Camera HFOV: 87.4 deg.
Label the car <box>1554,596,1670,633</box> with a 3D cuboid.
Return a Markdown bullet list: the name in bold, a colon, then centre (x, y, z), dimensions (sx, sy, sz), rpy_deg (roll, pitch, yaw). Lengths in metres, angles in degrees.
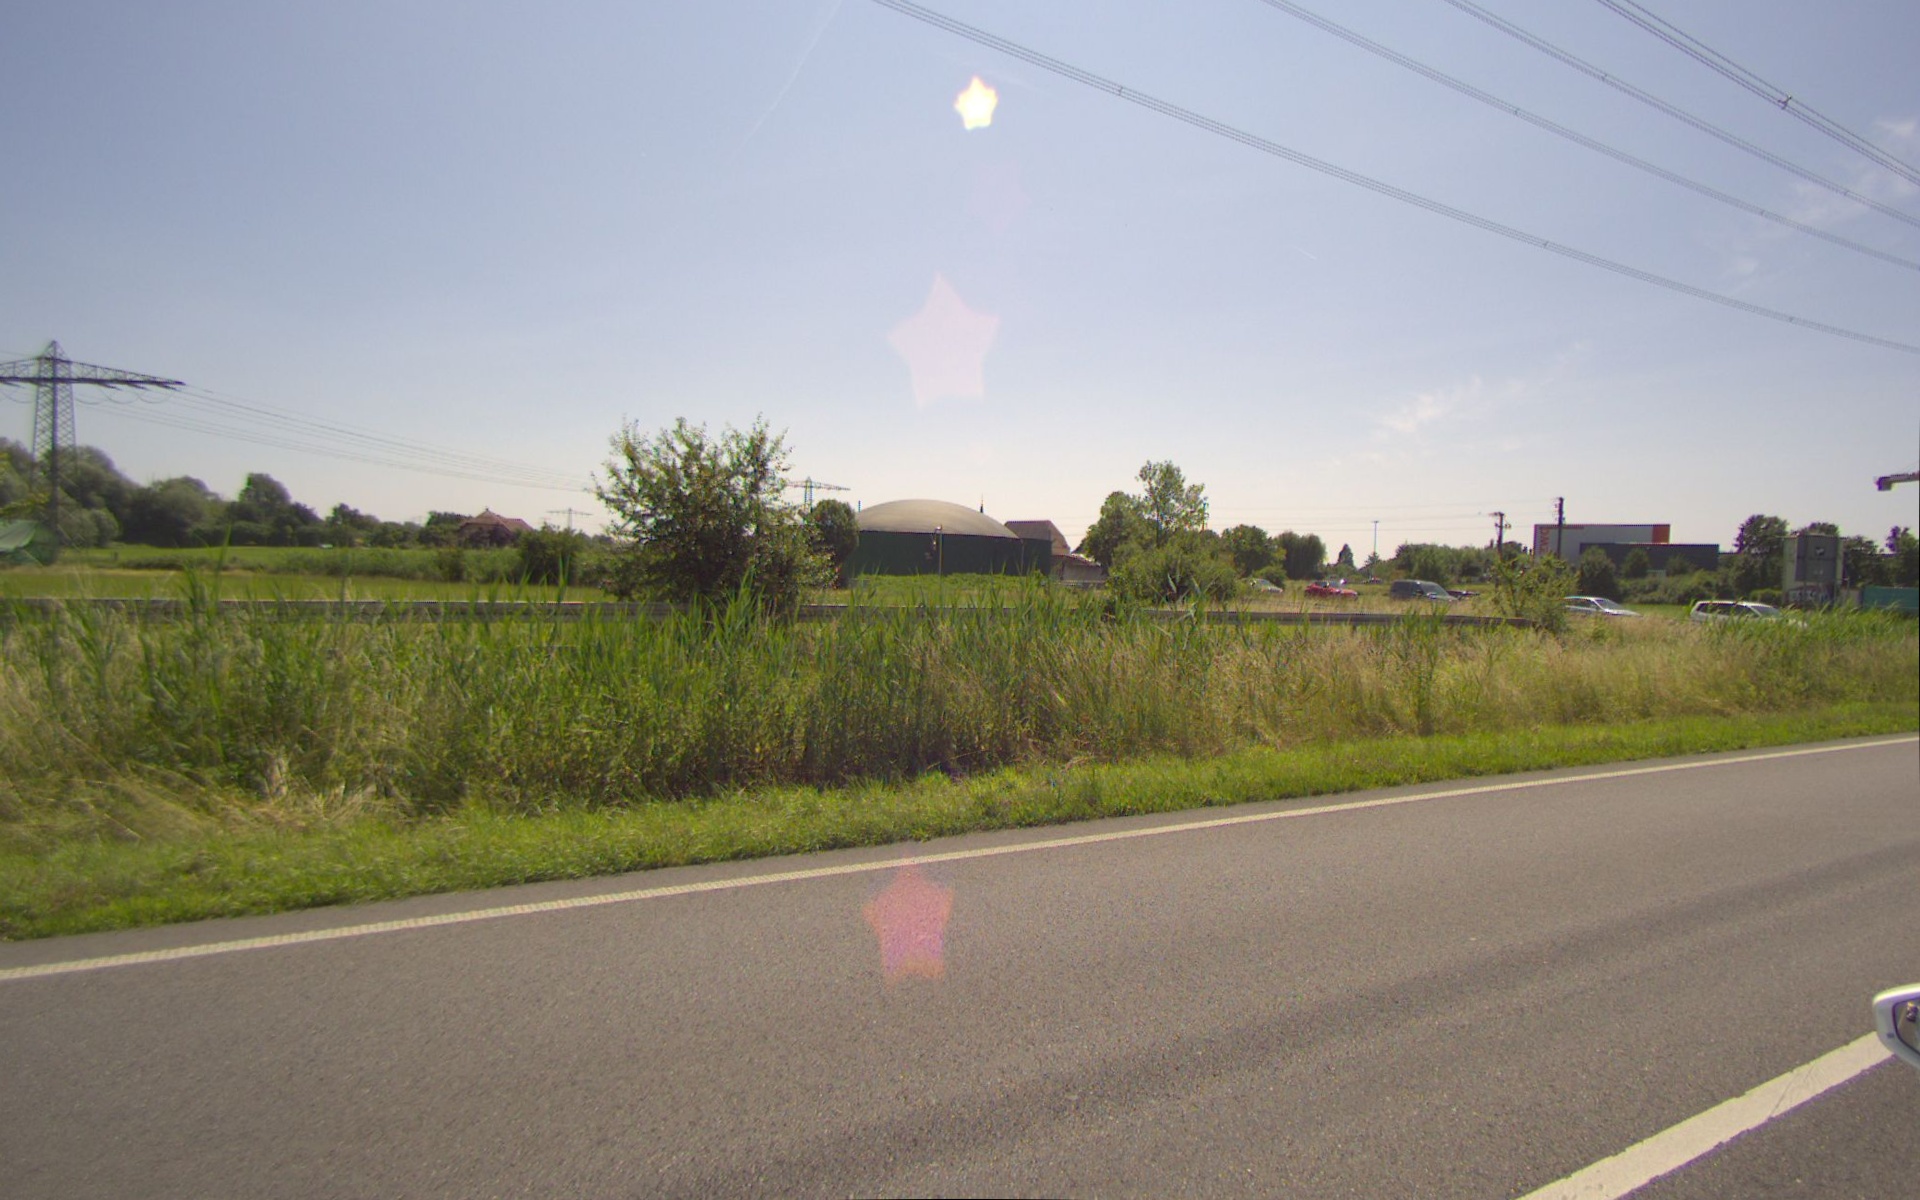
- **car**: centre (30.166, 0.622, 46.638), dimensions (1.691, 1.490, 4.428), rpy_deg (2, 1, -18)

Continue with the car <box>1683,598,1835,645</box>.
- **car**: centre (32.308, 0.831, 40.818), dimensions (1.935, 1.634, 4.542), rpy_deg (2, 2, -14)

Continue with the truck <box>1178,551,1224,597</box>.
- **truck**: centre (26.324, -2.779, 110.396), dimensions (3.615, 4.708, 13.247), rpy_deg (2, 1, 9)

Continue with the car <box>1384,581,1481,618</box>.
- **car**: centre (26.662, -0.079, 56.895), dimensions (2.056, 1.893, 4.929), rpy_deg (0, 2, -20)

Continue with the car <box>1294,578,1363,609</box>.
- **car**: centre (24.087, -0.458, 65.792), dimensions (1.885, 1.874, 4.467), rpy_deg (2, 2, -16)

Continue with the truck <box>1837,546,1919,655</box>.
- **truck**: centre (35.450, 0.135, 34.216), dimensions (2.465, 3.785, 7.876), rpy_deg (1, 3, -26)

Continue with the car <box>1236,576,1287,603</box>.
- **car**: centre (22.457, -0.831, 74.980), dimensions (1.633, 1.927, 3.984), rpy_deg (1, 1, -18)
